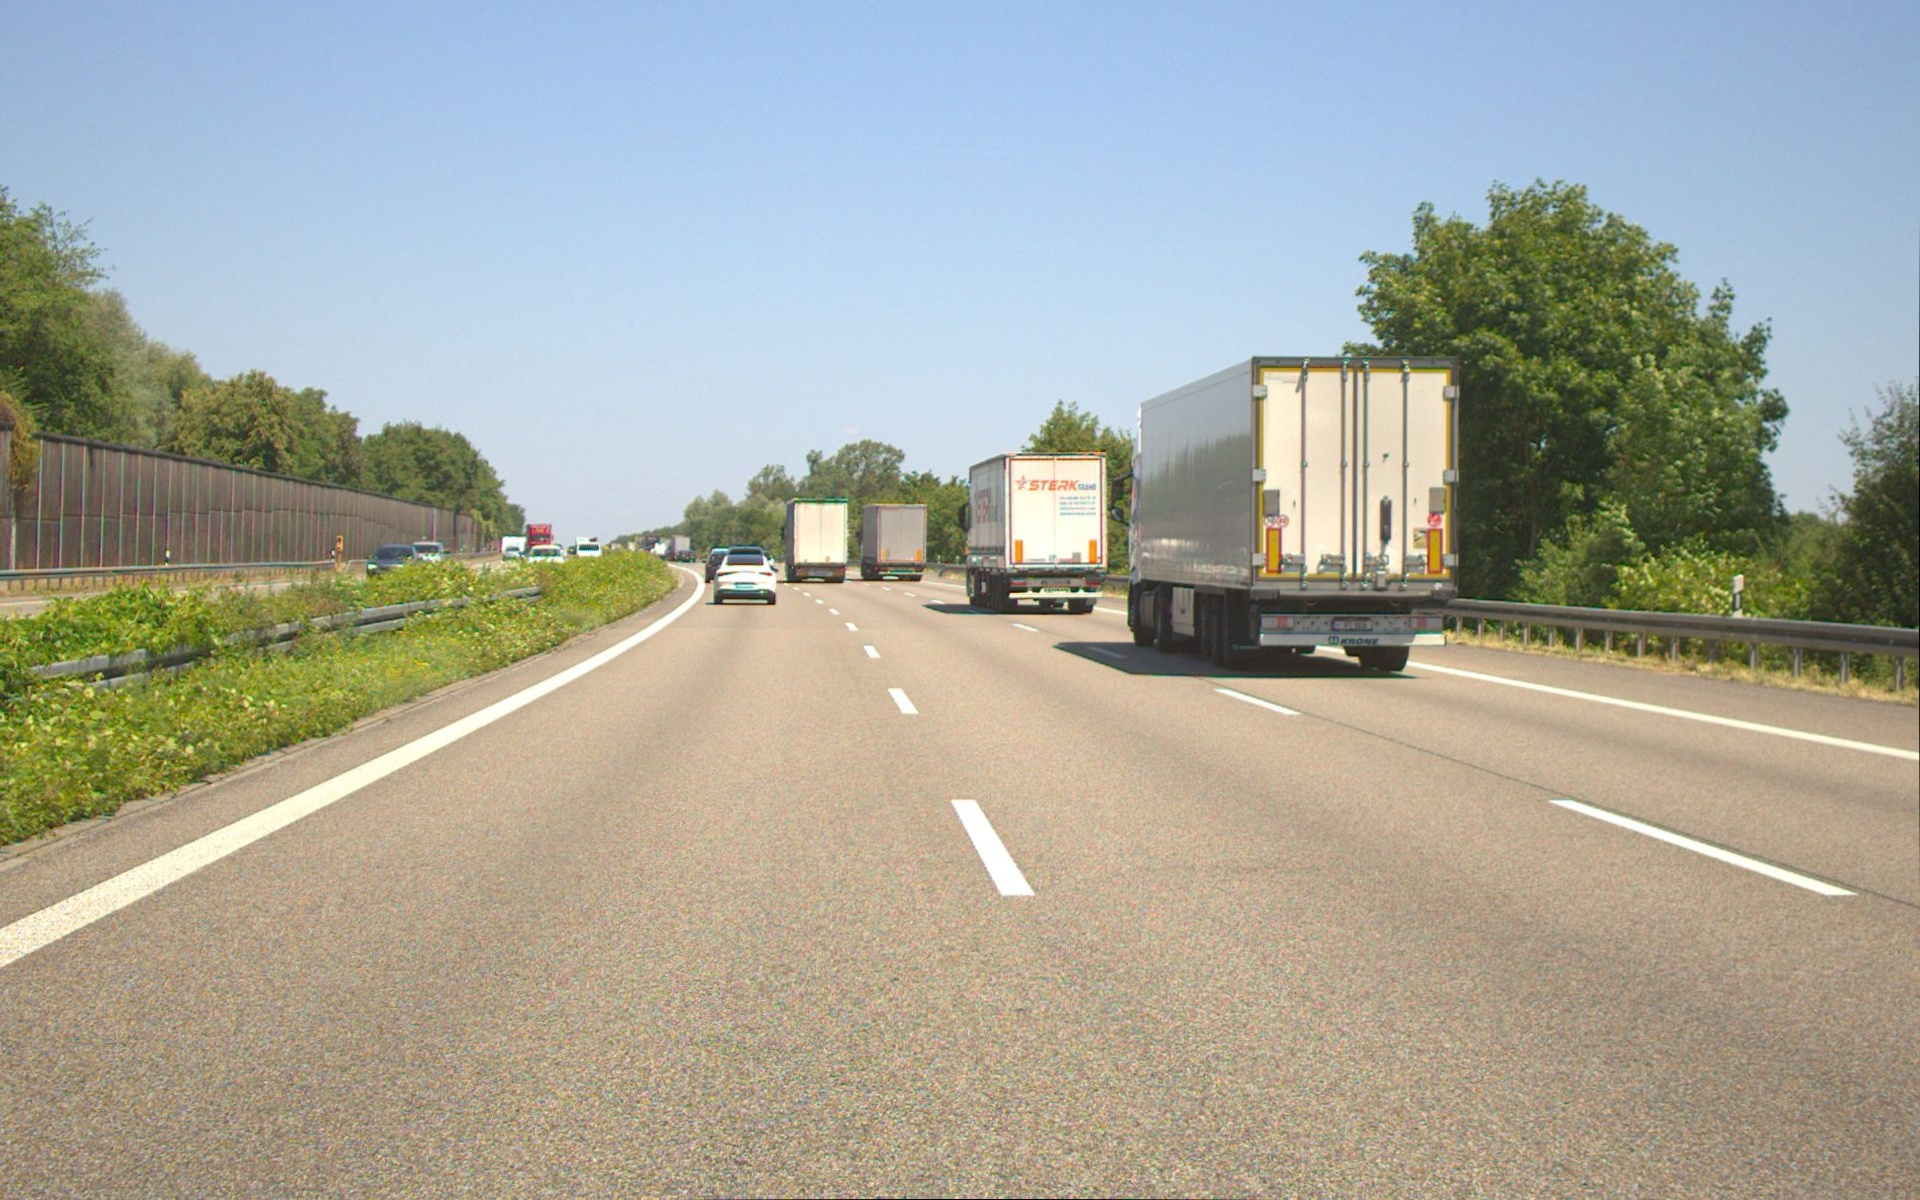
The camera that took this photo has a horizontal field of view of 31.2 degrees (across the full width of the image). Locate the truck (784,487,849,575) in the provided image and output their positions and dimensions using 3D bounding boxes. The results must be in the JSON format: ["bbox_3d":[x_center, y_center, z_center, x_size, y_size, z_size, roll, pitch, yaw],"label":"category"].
[{"bbox_3d":[-7.184,-3.347,170.601,2.706,4.072,13.475,2,0,-4],"label":"truck"}]

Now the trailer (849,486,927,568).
[{"bbox_3d":[-3.929,-3.862,184.970,2.703,4.201,13.215,2,0,-7],"label":"trailer"}]

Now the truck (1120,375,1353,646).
[{"bbox_3d":[4.354,-1.400,55.436,2.959,4.092,6.207,1,1,-2],"label":"truck"}]

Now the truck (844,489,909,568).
[{"bbox_3d":[-4.645,-3.939,190.639,2.690,4.201,7.840,2,0,-7],"label":"truck"}]

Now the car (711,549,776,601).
[{"bbox_3d":[-6.372,-0.742,101.498,1.855,1.481,4.001,1,1,-3],"label":"car"}]

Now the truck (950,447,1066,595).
[{"bbox_3d":[1.345,-2.251,99.662,2.707,4.074,6.965,1,1,-4],"label":"truck"}]

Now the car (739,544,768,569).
[{"bbox_3d":[-13.504,-2.824,224.887,1.855,1.611,4.001,1,1,-3],"label":"car"}]

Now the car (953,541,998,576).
[{"bbox_3d":[0.727,-1.996,164.777,1.855,1.611,4.001,1,1,-4],"label":"car"}]

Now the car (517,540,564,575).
[{"bbox_3d":[-20.220,-2.062,165.780,1.993,1.641,5.046,1,1,-4],"label":"car"}]

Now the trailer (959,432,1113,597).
[{"bbox_3d":[1.887,-2.208,92.711,2.707,4.074,14.153,1,1,-4],"label":"trailer"}]

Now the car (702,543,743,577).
[{"bbox_3d":[-11.375,-1.909,164.768,1.855,1.611,4.001,1,1,-3],"label":"car"}]

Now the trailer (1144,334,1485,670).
[{"bbox_3d":[4.693,-1.296,48.539,2.959,4.092,12.534,1,1,-2],"label":"trailer"}]

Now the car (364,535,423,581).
[{"bbox_3d":[-20.974,-1.557,127.427,1.993,1.641,4.694,1,1,-7],"label":"car"}]

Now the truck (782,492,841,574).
[{"bbox_3d":[-7.631,-3.397,176.092,2.727,4.072,7.278,2,0,-4],"label":"truck"}]
